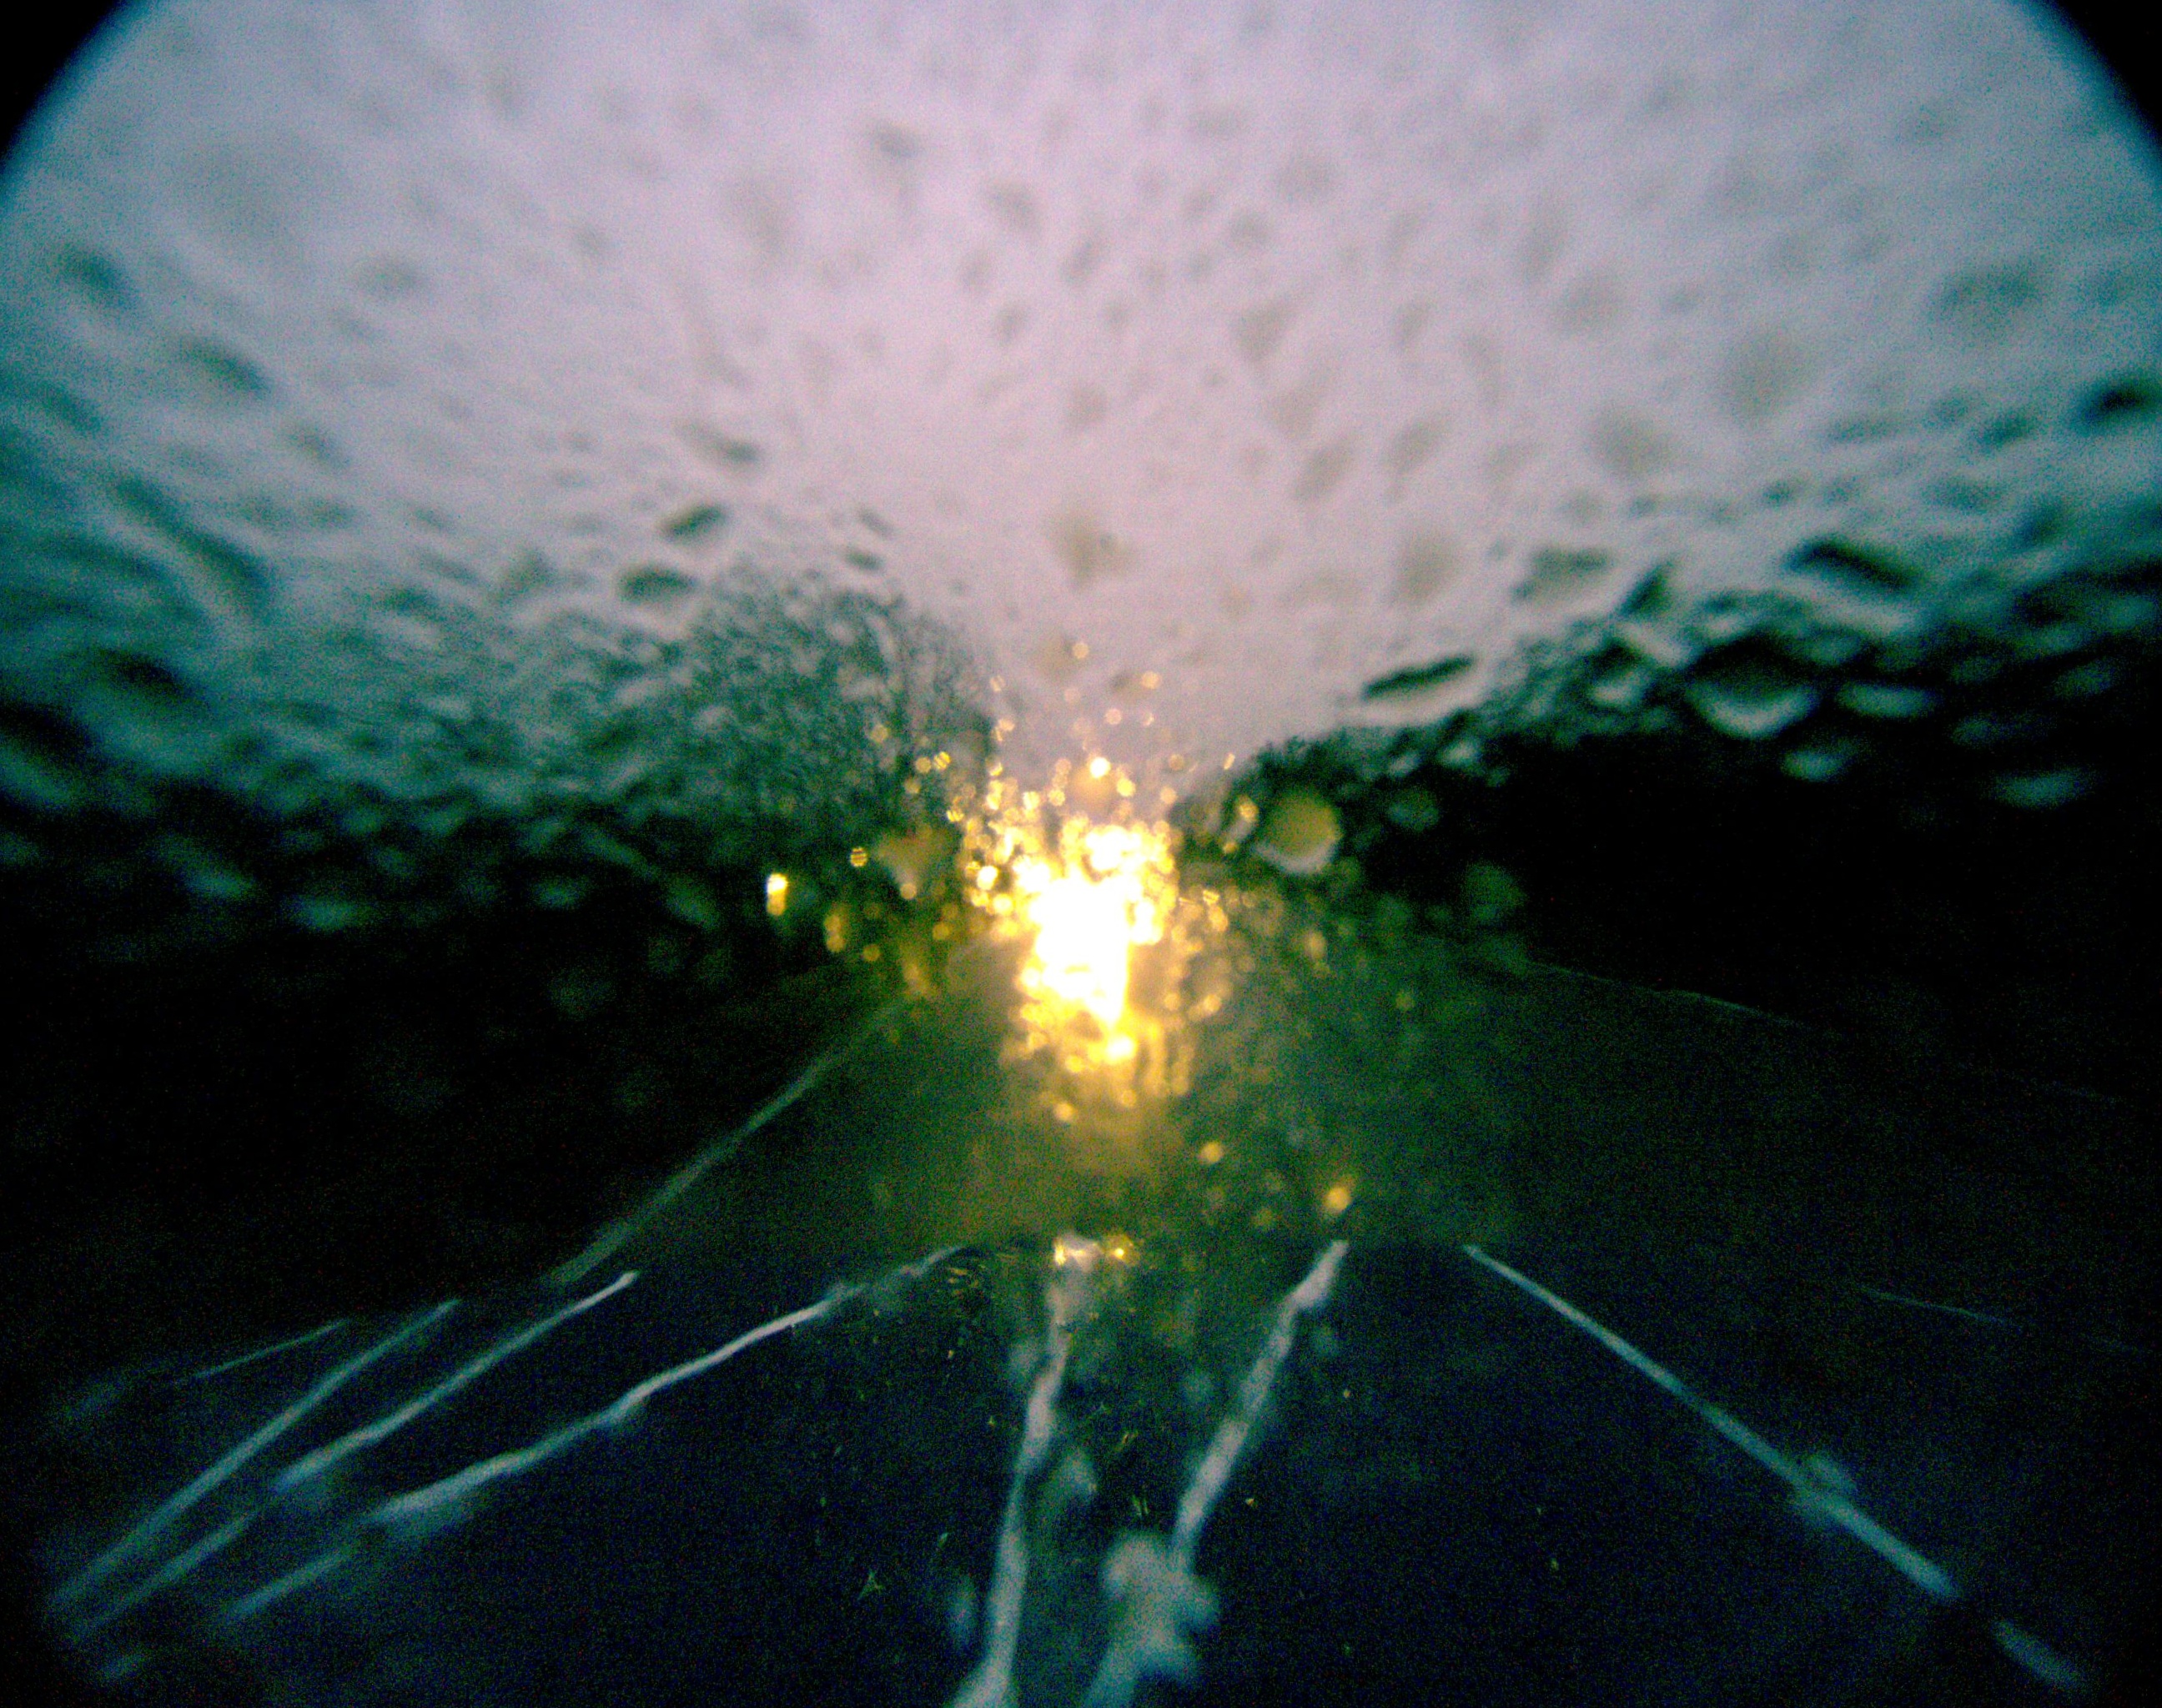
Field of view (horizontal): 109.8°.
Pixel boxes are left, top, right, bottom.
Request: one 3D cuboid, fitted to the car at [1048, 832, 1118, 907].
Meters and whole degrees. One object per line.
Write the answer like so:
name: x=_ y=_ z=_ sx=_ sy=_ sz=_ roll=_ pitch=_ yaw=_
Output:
car: x=0.168 y=0.456 z=25.199 sx=1.952 sy=2.195 sz=4.535 roll=-2 pitch=0 yaw=4
